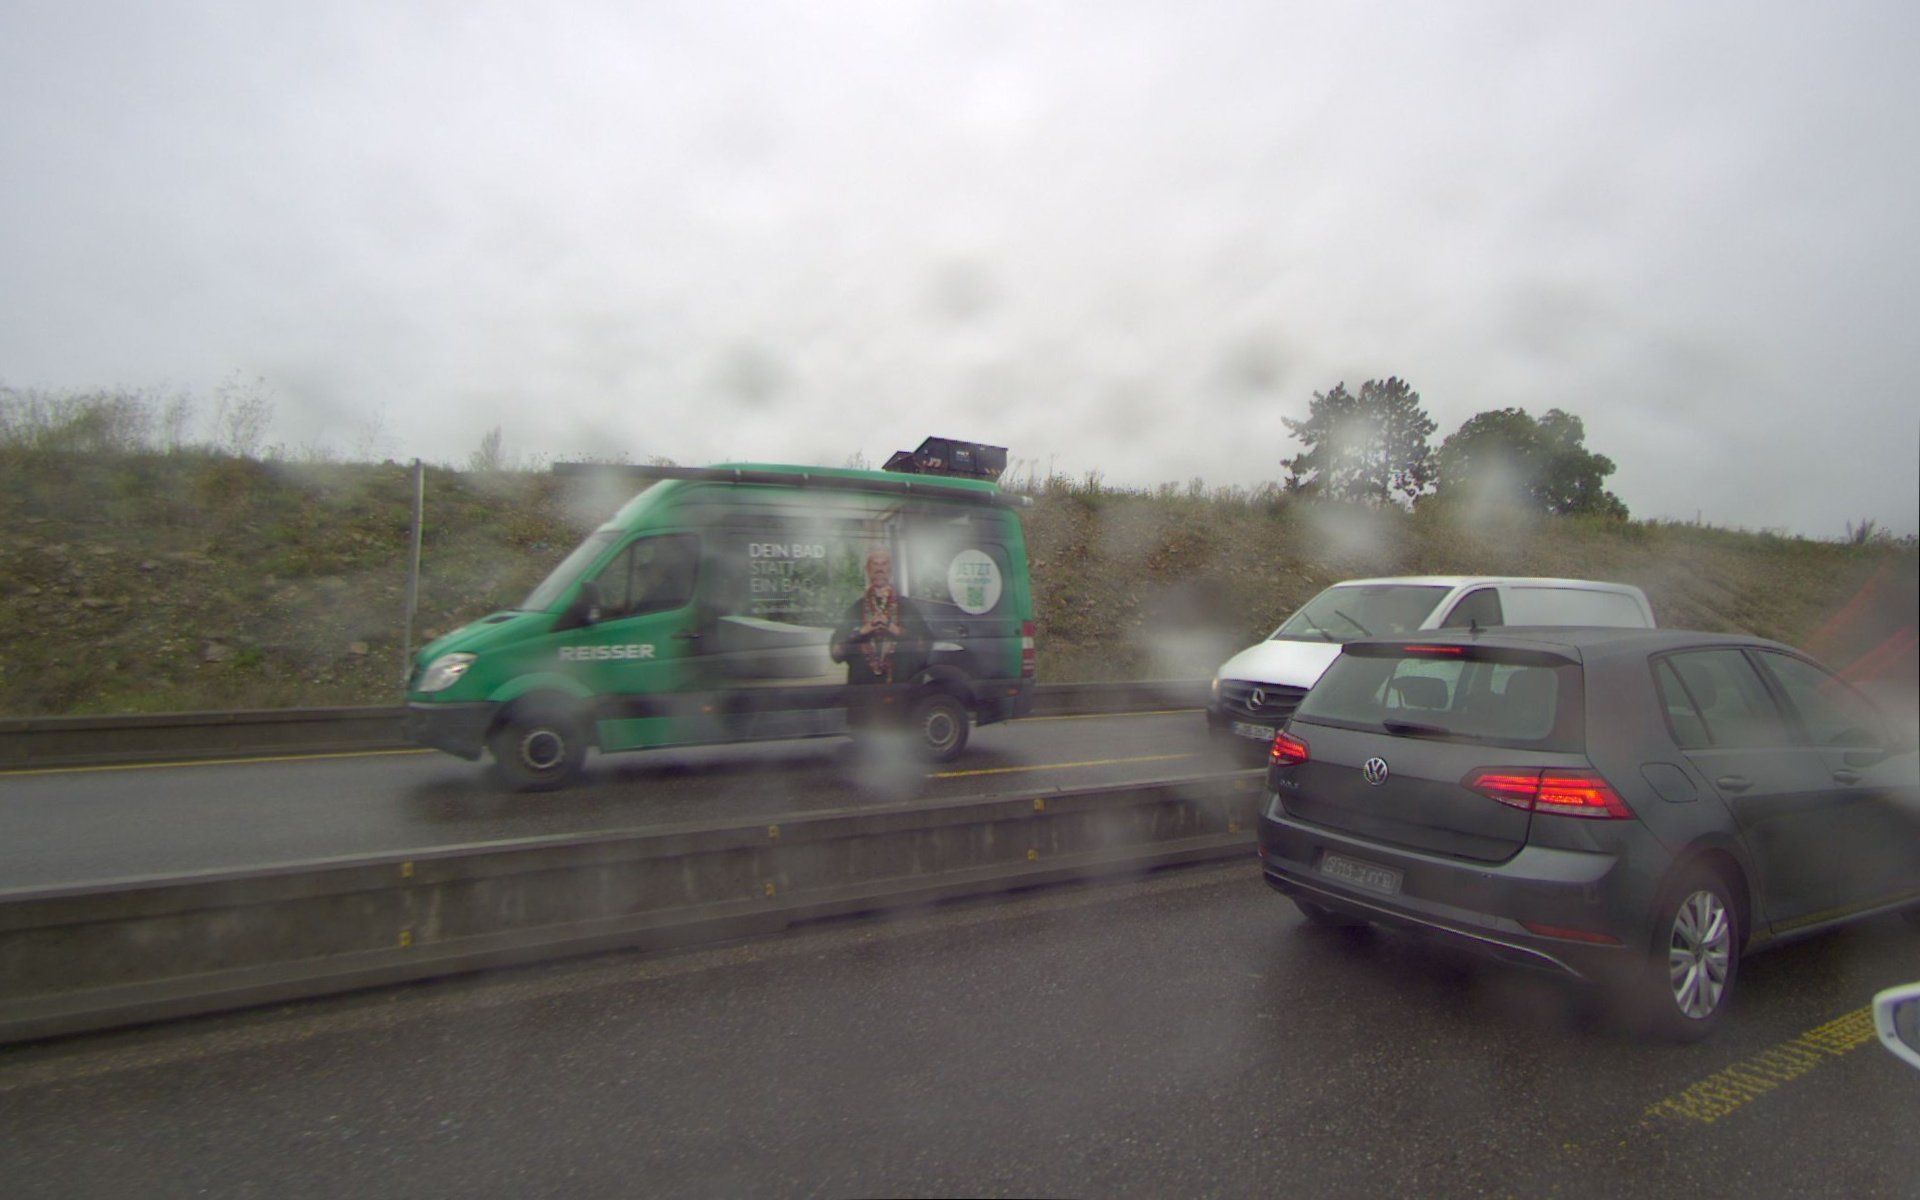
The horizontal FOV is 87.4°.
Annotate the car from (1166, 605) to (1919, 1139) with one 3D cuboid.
[{"bbox_3d":[3.136,0.839,4.689,4.317,1.526,1.606,1,-2,-30],"label":"car"}]

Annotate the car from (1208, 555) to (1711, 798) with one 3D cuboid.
[{"bbox_3d":[5.139,0.634,10.112,5.212,1.912,1.991,1,1,-30],"label":"car"}]

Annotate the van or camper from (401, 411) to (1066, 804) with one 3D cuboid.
[{"bbox_3d":[-1.997,0.094,9.683,5.872,2.855,2.090,1,1,-30],"label":"van or camper"}]
